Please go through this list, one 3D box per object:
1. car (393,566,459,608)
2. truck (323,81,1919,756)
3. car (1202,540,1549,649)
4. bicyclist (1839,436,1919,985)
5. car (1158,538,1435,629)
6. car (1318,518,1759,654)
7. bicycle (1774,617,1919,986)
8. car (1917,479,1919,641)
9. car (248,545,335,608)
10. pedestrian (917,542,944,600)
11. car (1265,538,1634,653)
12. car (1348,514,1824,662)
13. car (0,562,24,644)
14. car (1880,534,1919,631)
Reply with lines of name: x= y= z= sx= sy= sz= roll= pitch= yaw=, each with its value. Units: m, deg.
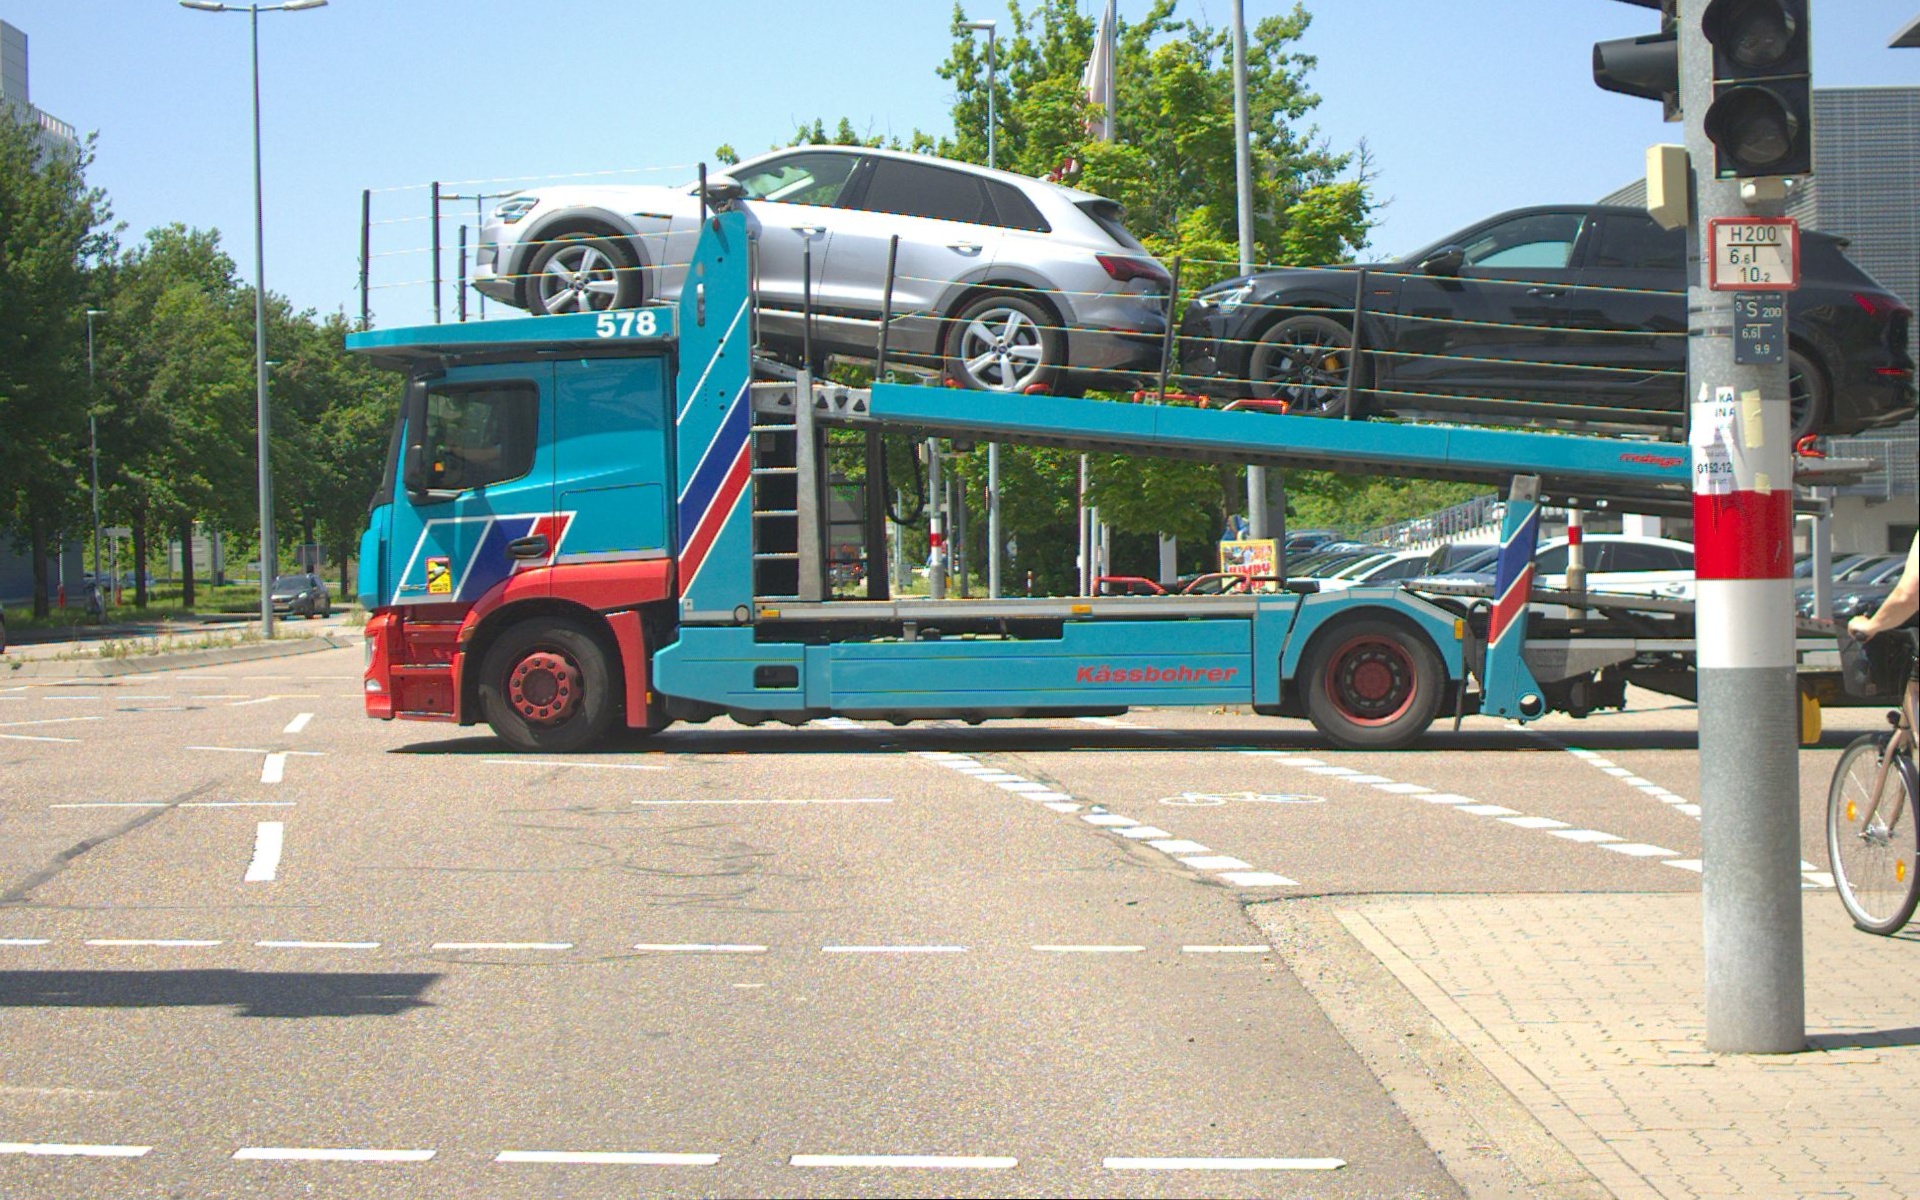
car: x=-21.943 y=-0.551 z=141.463 sx=1.926 sy=1.659 sz=4.089 roll=-1 pitch=1 yaw=2
truck: x=1.315 y=-1.132 z=23.475 sx=10.621 sy=4.068 sz=3.100 roll=-1 pitch=1 yaw=8
car: x=6.021 y=-0.091 z=50.170 sx=4.741 sy=1.452 sz=2.000 roll=-1 pitch=1 yaw=-2
bicyclist: x=3.383 y=0.341 z=11.286 sx=0.733 sy=1.743 sz=0.754 roll=0 pitch=1 yaw=-5
car: x=6.076 y=-0.315 z=62.487 sx=4.741 sy=1.452 sz=2.000 roll=-2 pitch=2 yaw=-2
car: x=6.602 y=-0.157 z=39.634 sx=4.741 sy=1.452 sz=2.000 roll=-1 pitch=0 yaw=1
bicycle: x=3.400 y=0.650 z=11.426 sx=0.786 sy=1.123 sz=1.921 roll=0 pitch=2 yaw=-5
car: x=10.703 y=-0.364 z=32.560 sx=1.993 sy=1.634 sz=4.269 roll=-1 pitch=2 yaw=-1
car: x=-22.622 y=-0.785 z=116.428 sx=1.994 sy=2.007 sz=3.999 roll=-1 pitch=-1 yaw=3
pedestrian: x=-0.763 y=-0.755 z=89.923 sx=0.668 sy=1.505 sz=0.736 roll=-1 pitch=1 yaw=-1
car: x=6.712 y=-0.078 z=47.486 sx=4.741 sy=1.452 sz=2.000 roll=-1 pitch=1 yaw=-2
car: x=6.650 y=-0.148 z=36.900 sx=4.741 sy=1.452 sz=2.000 roll=-1 pitch=1 yaw=1
car: x=-19.647 y=0.083 z=66.524 sx=1.875 sy=1.593 sz=4.496 roll=-1 pitch=1 yaw=-1
car: x=16.456 y=-0.307 z=52.938 sx=4.092 sy=1.455 sz=1.719 roll=-1 pitch=1 yaw=0
